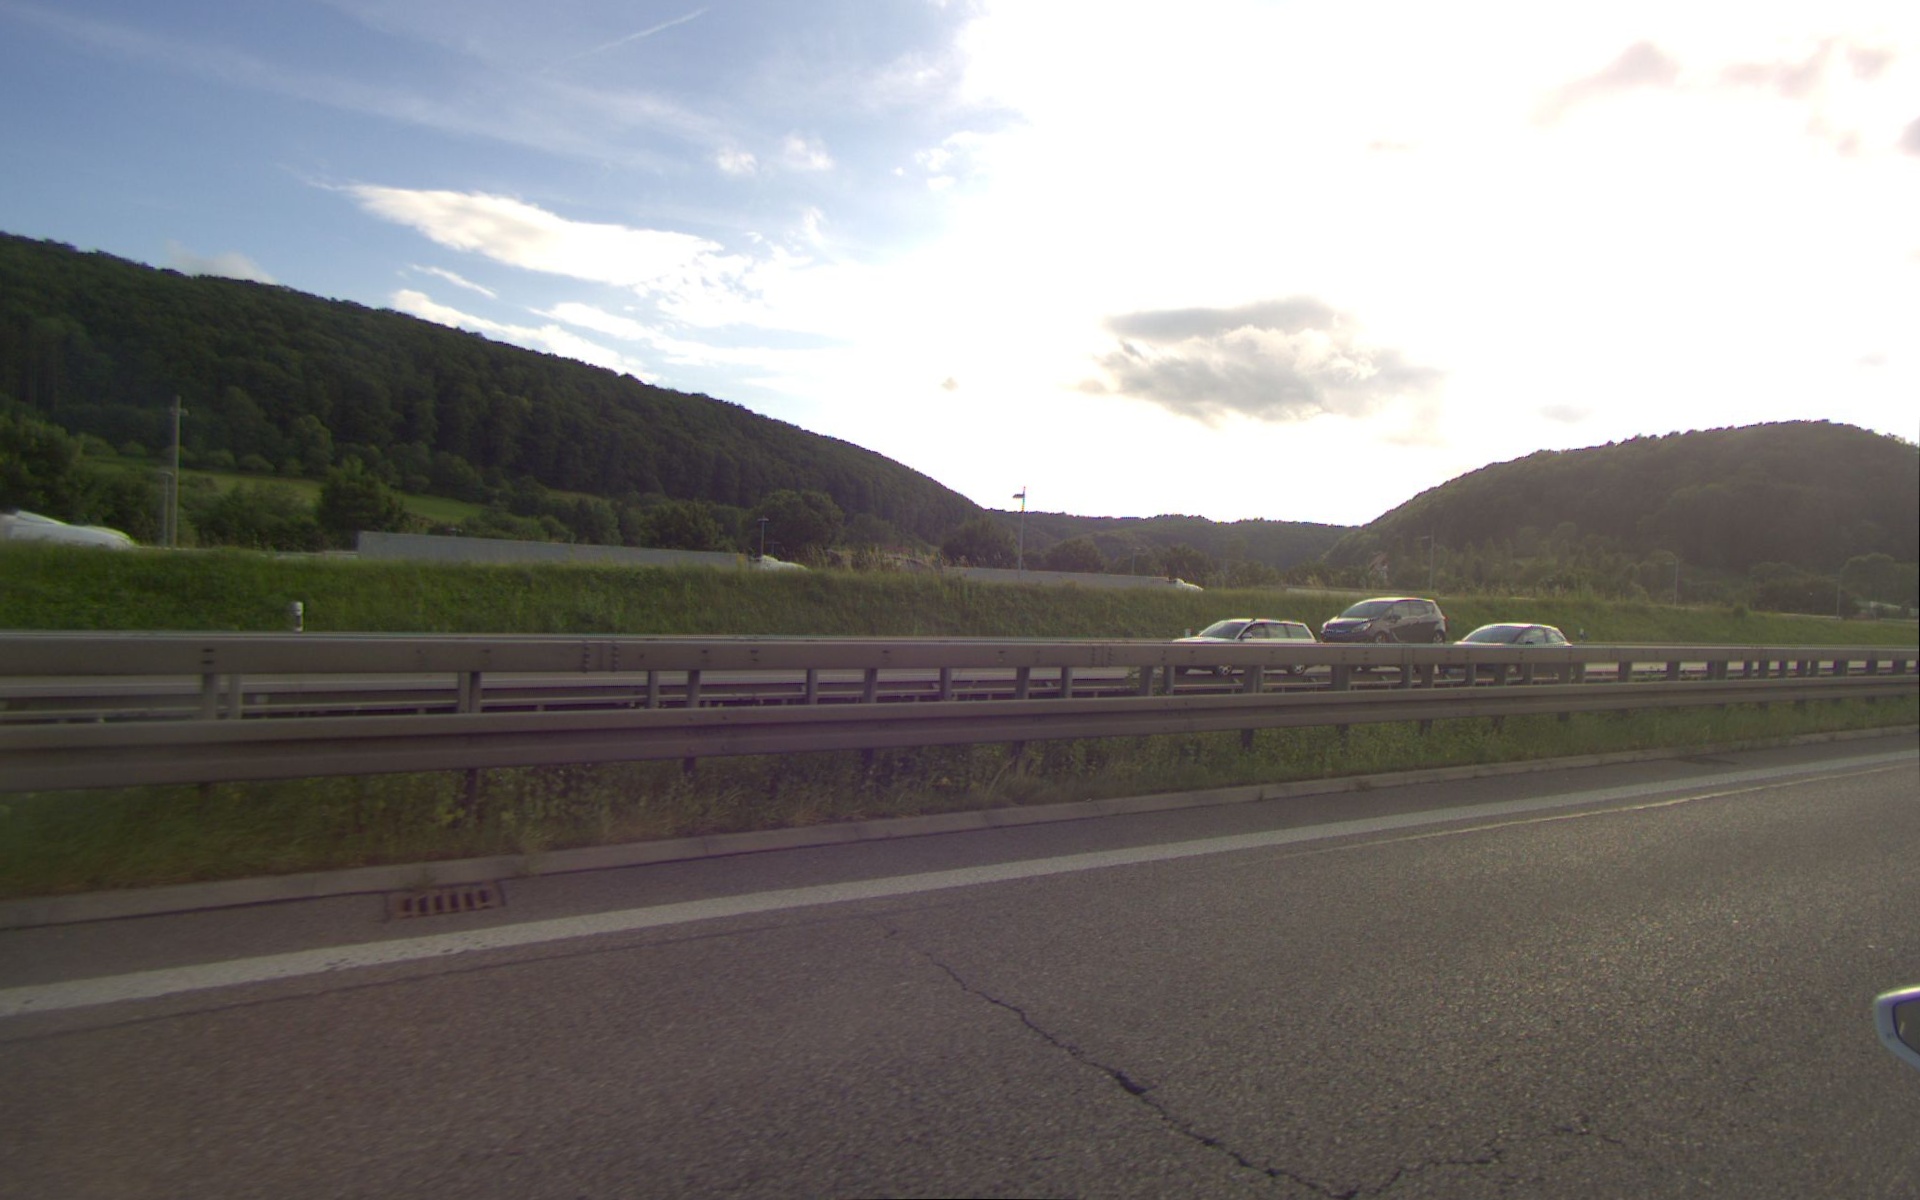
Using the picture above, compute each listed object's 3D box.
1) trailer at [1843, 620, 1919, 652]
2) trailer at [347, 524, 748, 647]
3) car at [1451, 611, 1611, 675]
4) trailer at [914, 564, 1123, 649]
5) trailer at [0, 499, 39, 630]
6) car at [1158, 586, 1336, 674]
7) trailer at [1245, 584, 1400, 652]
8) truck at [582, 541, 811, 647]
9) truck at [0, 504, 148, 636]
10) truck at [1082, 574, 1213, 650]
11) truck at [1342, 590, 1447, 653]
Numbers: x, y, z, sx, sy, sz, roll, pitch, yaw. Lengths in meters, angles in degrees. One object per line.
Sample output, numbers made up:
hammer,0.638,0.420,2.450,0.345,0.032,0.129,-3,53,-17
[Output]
trailer,96.472,3.815,105.138,11.249,2.891,2.566,4,-1,-30
trailer,-14.985,-0.288,37.736,13.522,3.744,2.863,3,-3,-31
car,14.583,1.083,25.634,3.829,1.495,1.941,2,-1,-31
trailer,2.985,0.445,48.548,10.253,3.745,2.863,2,-2,-31
trailer,-33.682,-1.214,26.414,13.523,3.745,2.862,2,-1,-32
car,7.554,0.789,26.327,4.470,2.141,1.941,2,-1,-31
trailer,21.703,1.172,59.883,10.253,3.745,2.863,2,-2,-31
truck,-10.480,-0.071,40.453,8.397,3.739,2.867,3,-3,-31
truck,-29.237,-0.920,29.155,8.397,3.740,2.866,2,-1,-31
truck,9.867,0.705,52.723,6.517,3.739,2.867,2,-2,-31
truck,27.462,1.386,63.381,6.517,3.739,2.867,2,-2,-31
